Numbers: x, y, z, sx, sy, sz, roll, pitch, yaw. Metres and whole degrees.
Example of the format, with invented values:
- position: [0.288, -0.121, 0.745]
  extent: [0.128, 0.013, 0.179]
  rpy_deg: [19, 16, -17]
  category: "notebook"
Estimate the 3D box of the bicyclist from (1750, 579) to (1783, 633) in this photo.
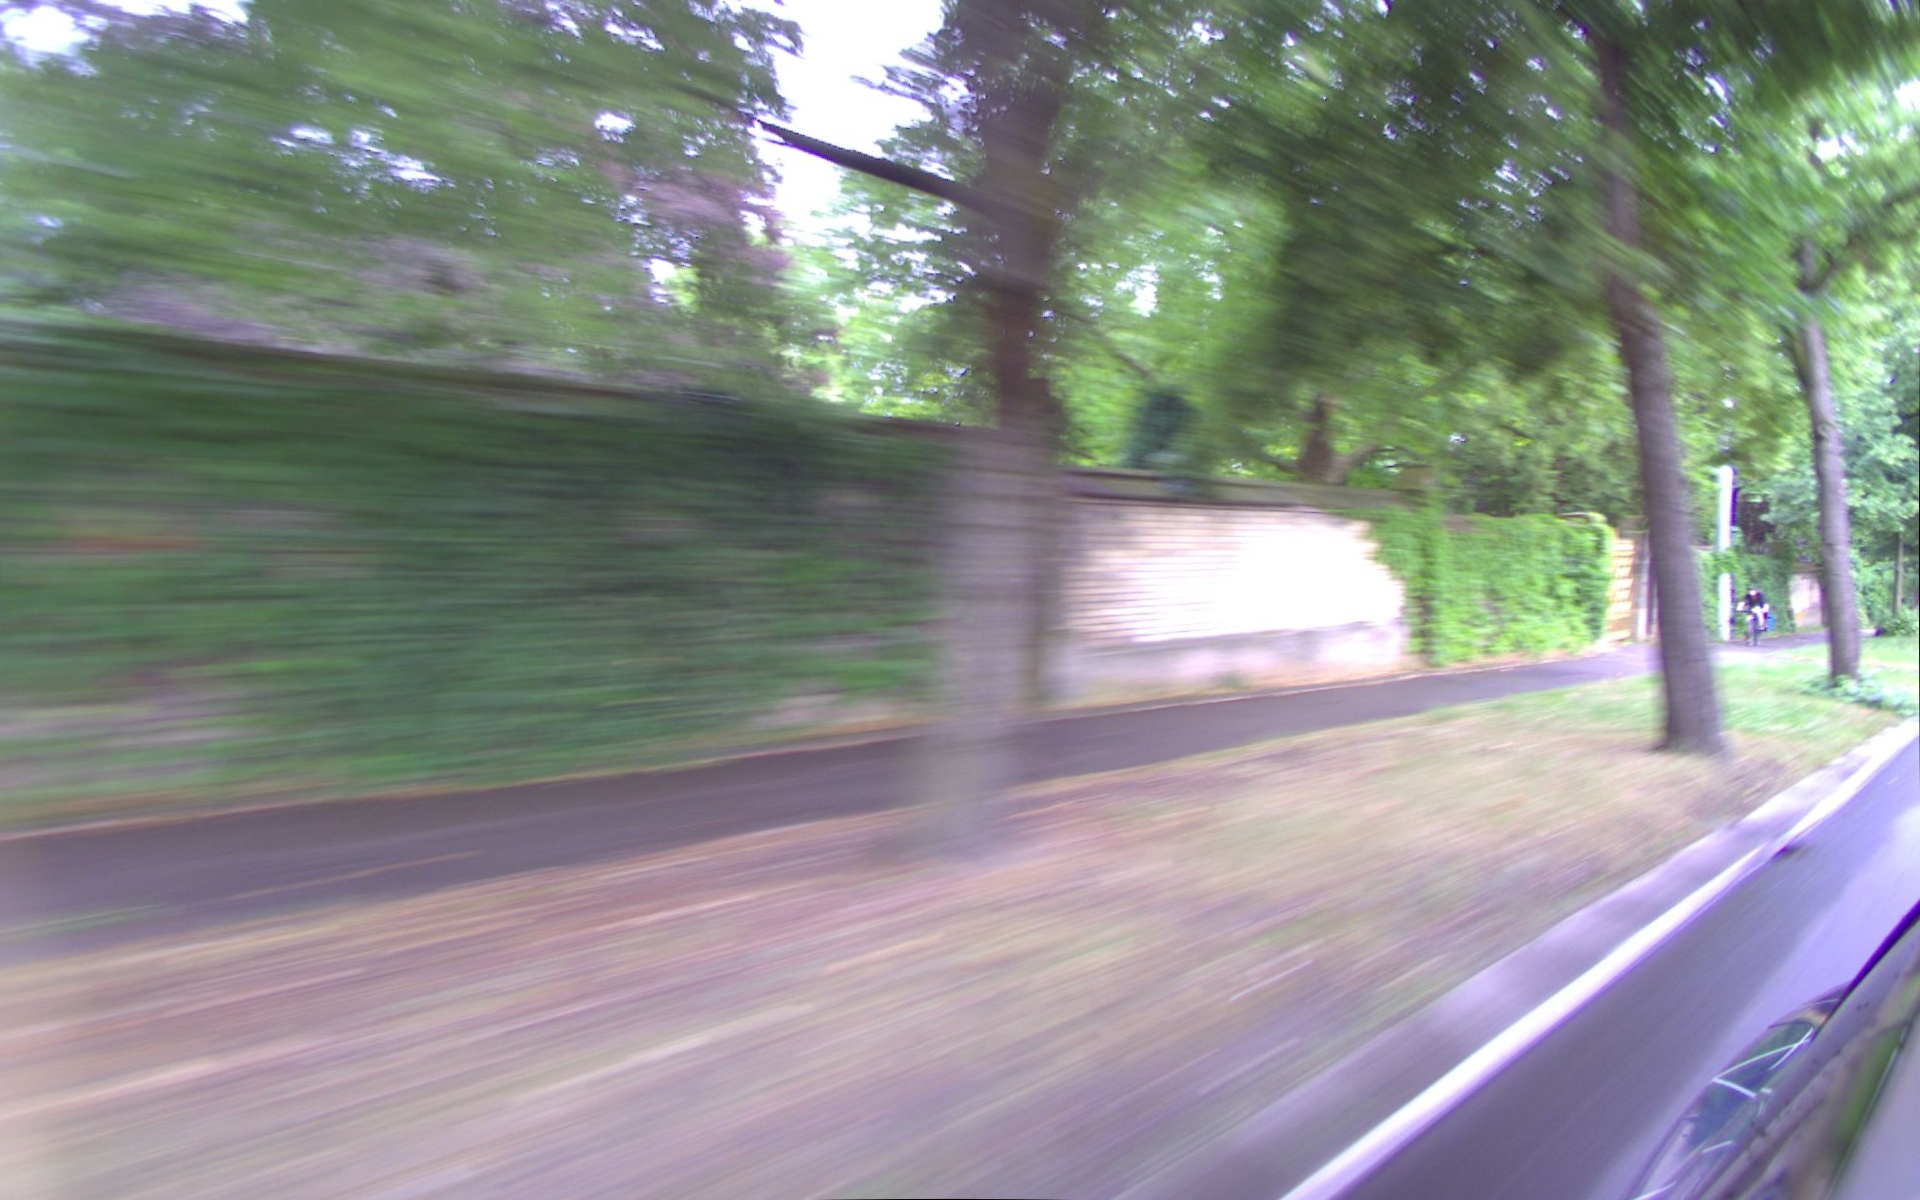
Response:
- position: [21.618, 0.146, 27.126]
  extent: [0.654, 1.406, 0.536]
  rpy_deg: [1, 2, -39]
  category: "bicyclist"

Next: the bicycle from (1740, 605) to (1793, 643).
- position: [21.715, 0.618, 27.219]
  extent: [2.503, 0.960, 0.544]
  rpy_deg: [0, 2, -39]
  category: "bicycle"
